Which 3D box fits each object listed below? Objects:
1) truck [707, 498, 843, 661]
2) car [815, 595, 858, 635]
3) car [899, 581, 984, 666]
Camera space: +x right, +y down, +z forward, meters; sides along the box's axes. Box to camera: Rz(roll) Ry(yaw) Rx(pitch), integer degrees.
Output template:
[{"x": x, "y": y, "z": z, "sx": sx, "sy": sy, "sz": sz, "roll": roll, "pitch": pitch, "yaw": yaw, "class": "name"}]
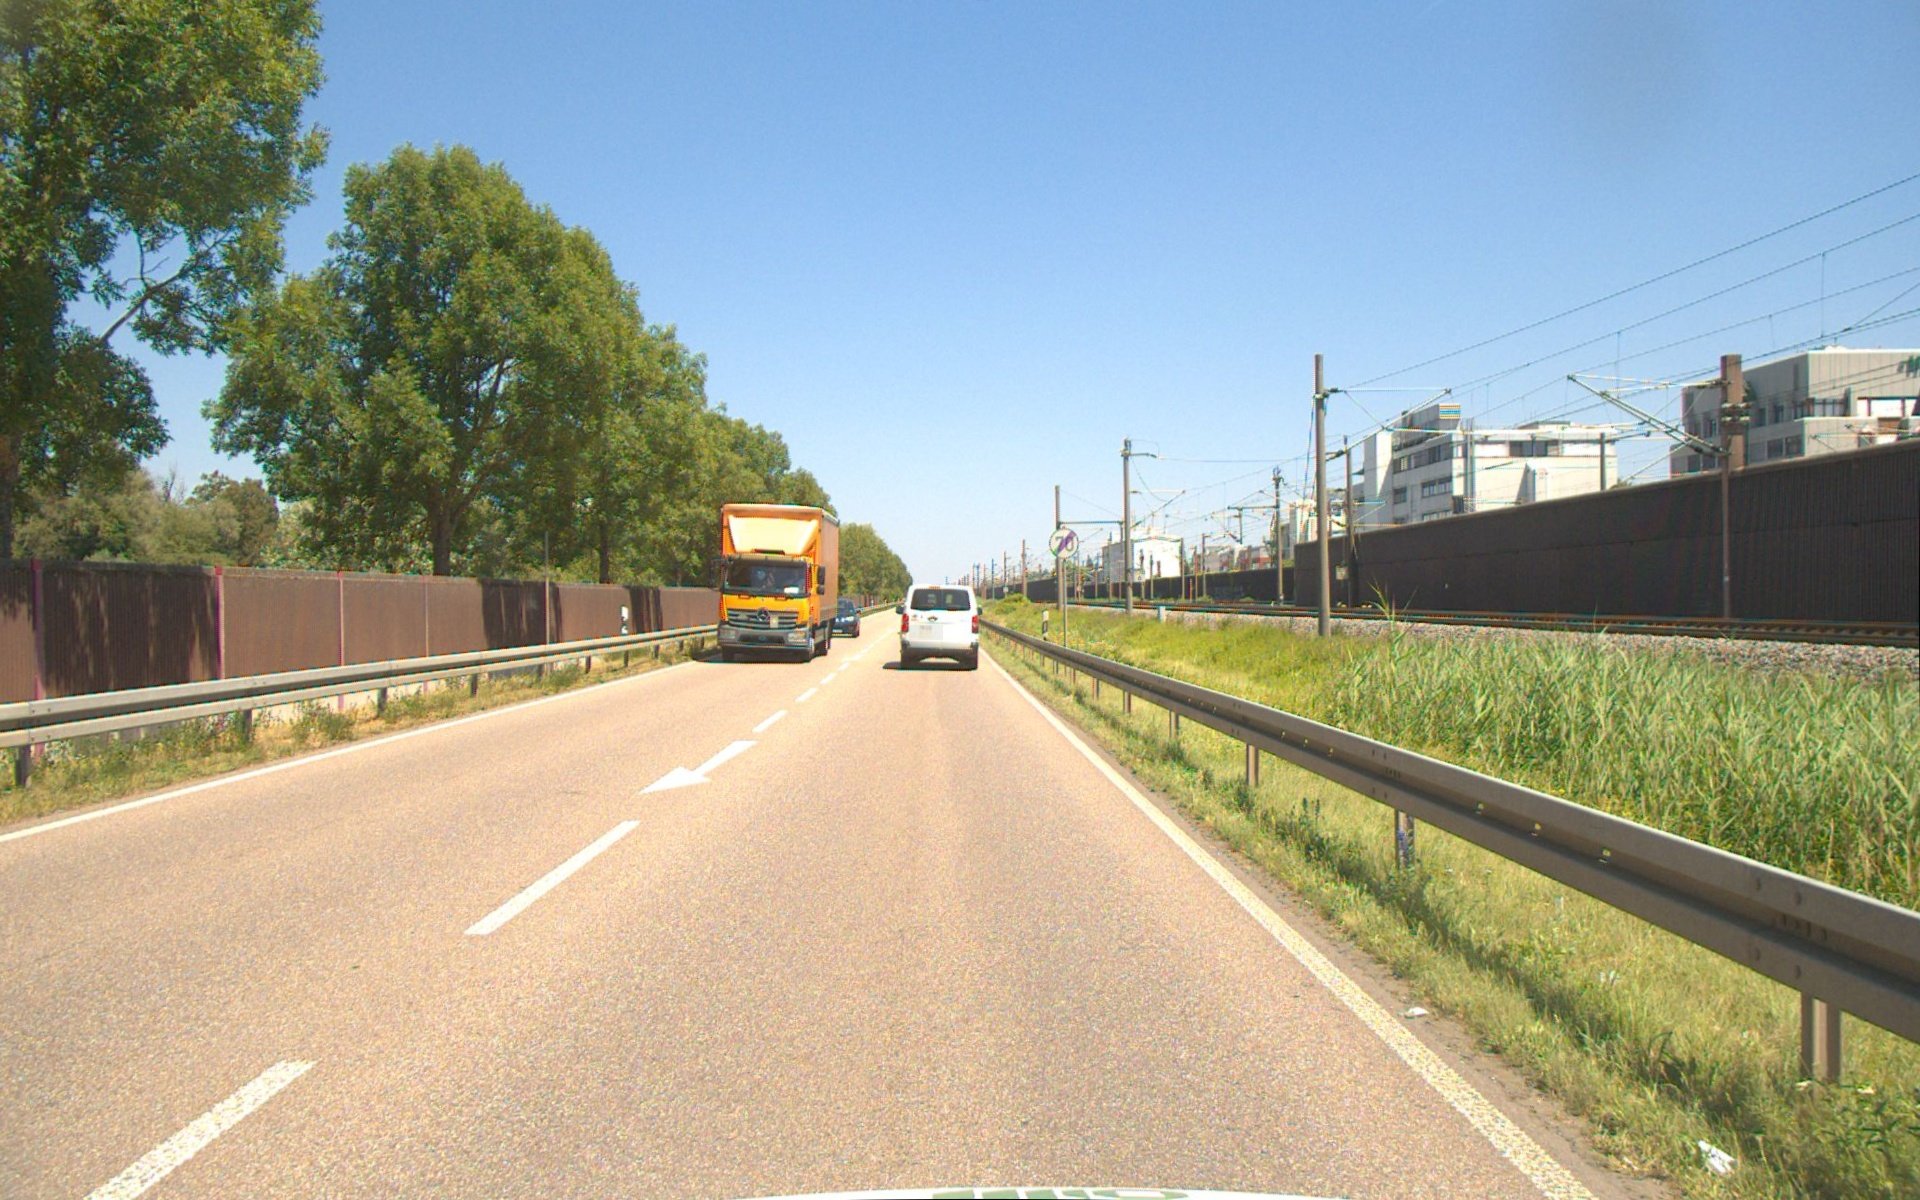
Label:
[{"x": -4.790, "y": -0.481, "z": 44.505, "sx": 2.735, "sy": 3.907, "sz": 9.322, "roll": 0, "pitch": 0, "yaw": -1, "class": "truck"}, {"x": -5.181, "y": 0.618, "z": 69.597, "sx": 1.589, "sy": 1.605, "sz": 3.762, "roll": 0, "pitch": 1, "yaw": -1, "class": "car"}, {"x": -0.457, "y": 0.535, "z": 39.799, "sx": 1.906, "sy": 1.914, "sz": 4.879, "roll": 0, "pitch": 0, "yaw": -1, "class": "car"}]
